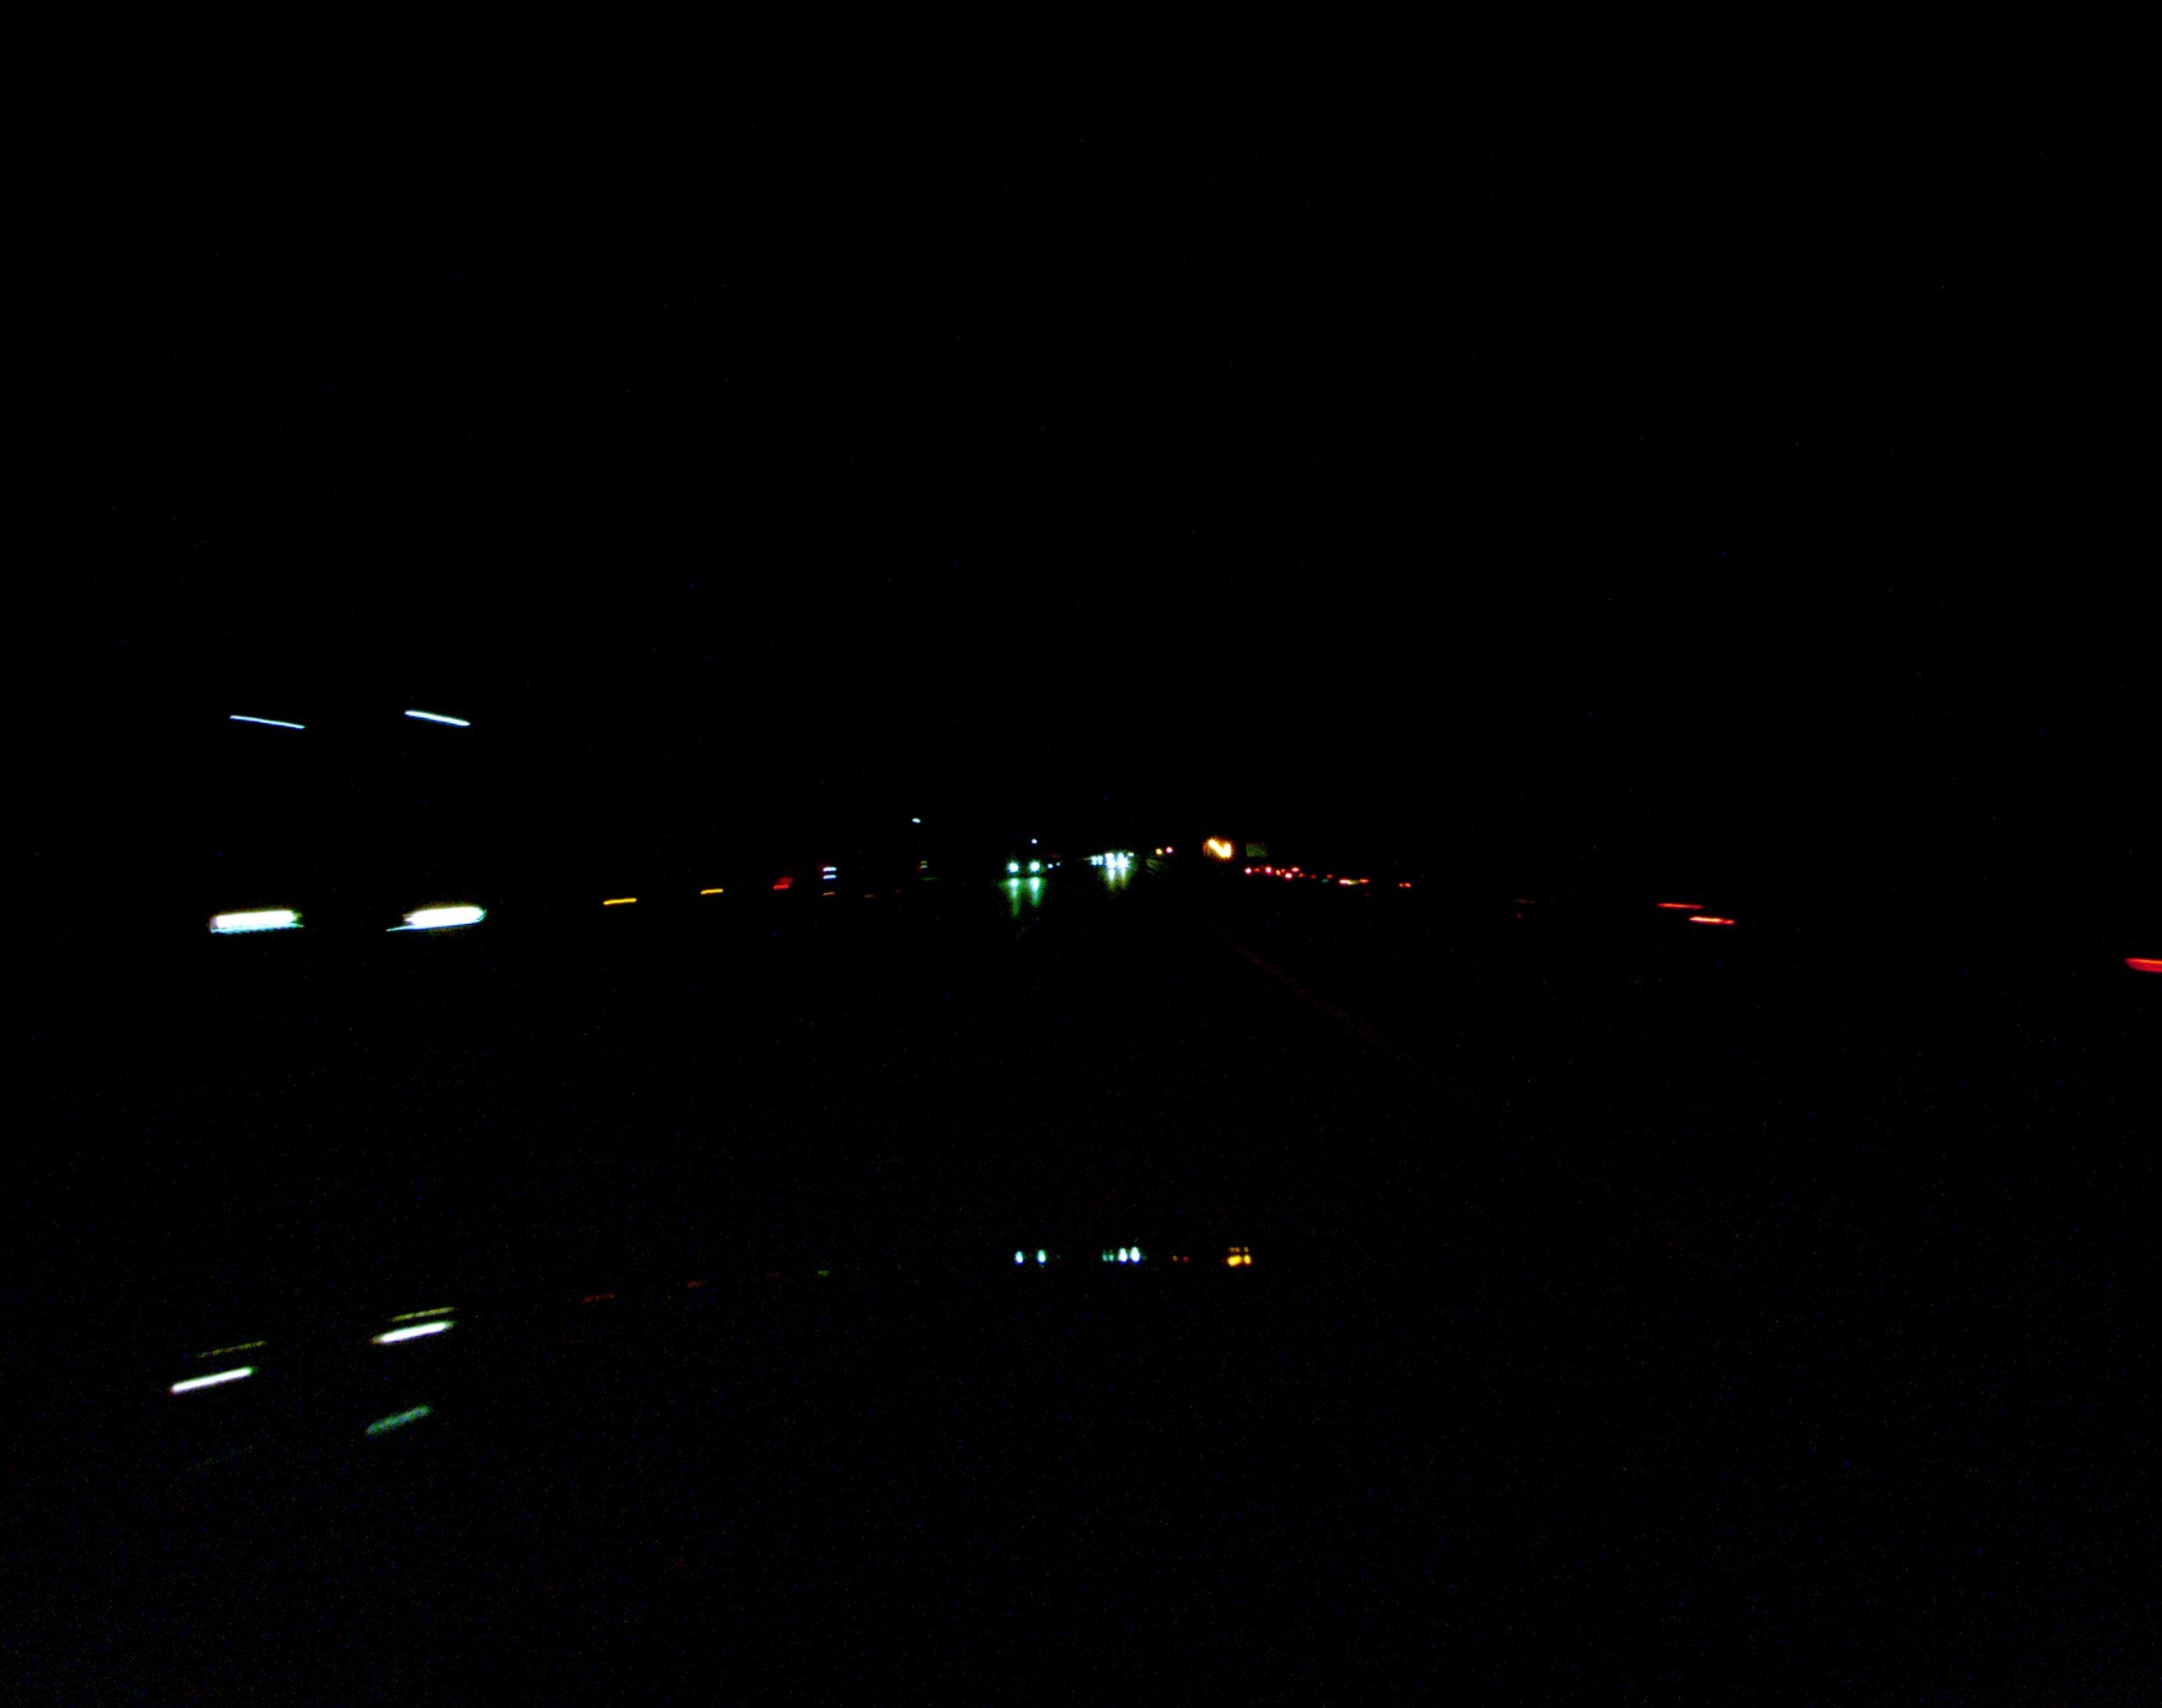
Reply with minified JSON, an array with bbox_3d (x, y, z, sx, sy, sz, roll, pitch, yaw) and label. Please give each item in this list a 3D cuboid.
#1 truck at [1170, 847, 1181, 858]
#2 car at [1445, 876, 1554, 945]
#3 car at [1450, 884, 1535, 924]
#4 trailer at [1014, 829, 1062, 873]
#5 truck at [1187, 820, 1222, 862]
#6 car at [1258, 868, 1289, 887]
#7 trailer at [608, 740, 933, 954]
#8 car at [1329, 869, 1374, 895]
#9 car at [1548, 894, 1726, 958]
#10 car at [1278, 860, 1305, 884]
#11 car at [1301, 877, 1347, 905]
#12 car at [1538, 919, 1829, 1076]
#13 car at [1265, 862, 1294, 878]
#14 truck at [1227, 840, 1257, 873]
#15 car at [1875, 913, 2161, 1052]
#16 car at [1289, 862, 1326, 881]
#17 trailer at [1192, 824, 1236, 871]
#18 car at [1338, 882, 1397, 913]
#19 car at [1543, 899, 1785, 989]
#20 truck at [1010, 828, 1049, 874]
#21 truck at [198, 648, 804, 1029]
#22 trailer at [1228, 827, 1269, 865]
[{"bbox_3d":[31.447,-0.476,252.839,2.661,3.570,8.550,-2,0,2],"label":"truck"},{"bbox_3d":[13.535,1.756,24.767,1.625,2.002,3.326,0,0,-2],"label":"car"},{"bbox_3d":[17.525,2.090,32.549,1.702,1.390,4.001,1,0,4],"label":"car"},{"bbox_3d":[-4.144,-0.280,77.551,2.839,3.951,15.767,-2,0,4],"label":"trailer"},{"bbox_3d":[11.899,-1.261,73.676,2.609,3.722,6.756,-3,1,4],"label":"truck"},{"bbox_3d":[15.697,1.906,62.123,1.804,1.408,4.001,0,0,5],"label":"car"},{"bbox_3d":[-7.077,-0.233,20.693,2.881,3.909,12.887,-2,1,3],"label":"trailer"},{"bbox_3d":[18.695,1.916,52.700,1.998,1.539,4.140,-2,0,6],"label":"car"},{"bbox_3d":[16.670,2.106,23.159,1.908,1.445,4.711,-2,0,-1],"label":"car"},{"bbox_3d":[18.760,1.563,67.805,1.892,2.002,4.003,-1,0,10],"label":"car"},{"bbox_3d":[13.771,2.070,43.231,1.804,1.408,4.002,0,0,7],"label":"car"},{"bbox_3d":[9.706,2.194,12.737,1.737,1.847,4.000,1,0,1],"label":"car"},{"bbox_3d":[19.597,1.547,75.123,1.998,1.482,4.404,-2,0,4],"label":"car"},{"bbox_3d":[21.736,0.270,102.892,3.093,4.291,6.284,-3,1,6],"label":"truck"},{"bbox_3d":[16.435,1.980,12.269,2.080,1.625,4.920,-2,0,0],"label":"car"},{"bbox_3d":[18.760,1.433,63.178,1.998,1.482,4.404,-1,0,4],"label":"car"},{"bbox_3d":[11.491,-0.587,66.649,2.540,3.692,10.128,-3,1,4],"label":"trailer"},{"bbox_3d":[13.935,2.088,37.189,1.723,1.295,4.001,0,0,5],"label":"car"},{"bbox_3d":[13.074,1.939,17.524,1.908,1.445,4.711,-2,0,-1],"label":"car"},{"bbox_3d":[-4.663,-0.252,69.373,2.899,3.948,4.001,-2,0,3],"label":"truck"},{"bbox_3d":[-7.472,-0.150,11.874,2.873,3.817,8.055,-2,0,3],"label":"truck"},{"bbox_3d":[21.037,-1.047,96.557,3.155,4.291,14.815,-3,1,6],"label":"trailer"}]
